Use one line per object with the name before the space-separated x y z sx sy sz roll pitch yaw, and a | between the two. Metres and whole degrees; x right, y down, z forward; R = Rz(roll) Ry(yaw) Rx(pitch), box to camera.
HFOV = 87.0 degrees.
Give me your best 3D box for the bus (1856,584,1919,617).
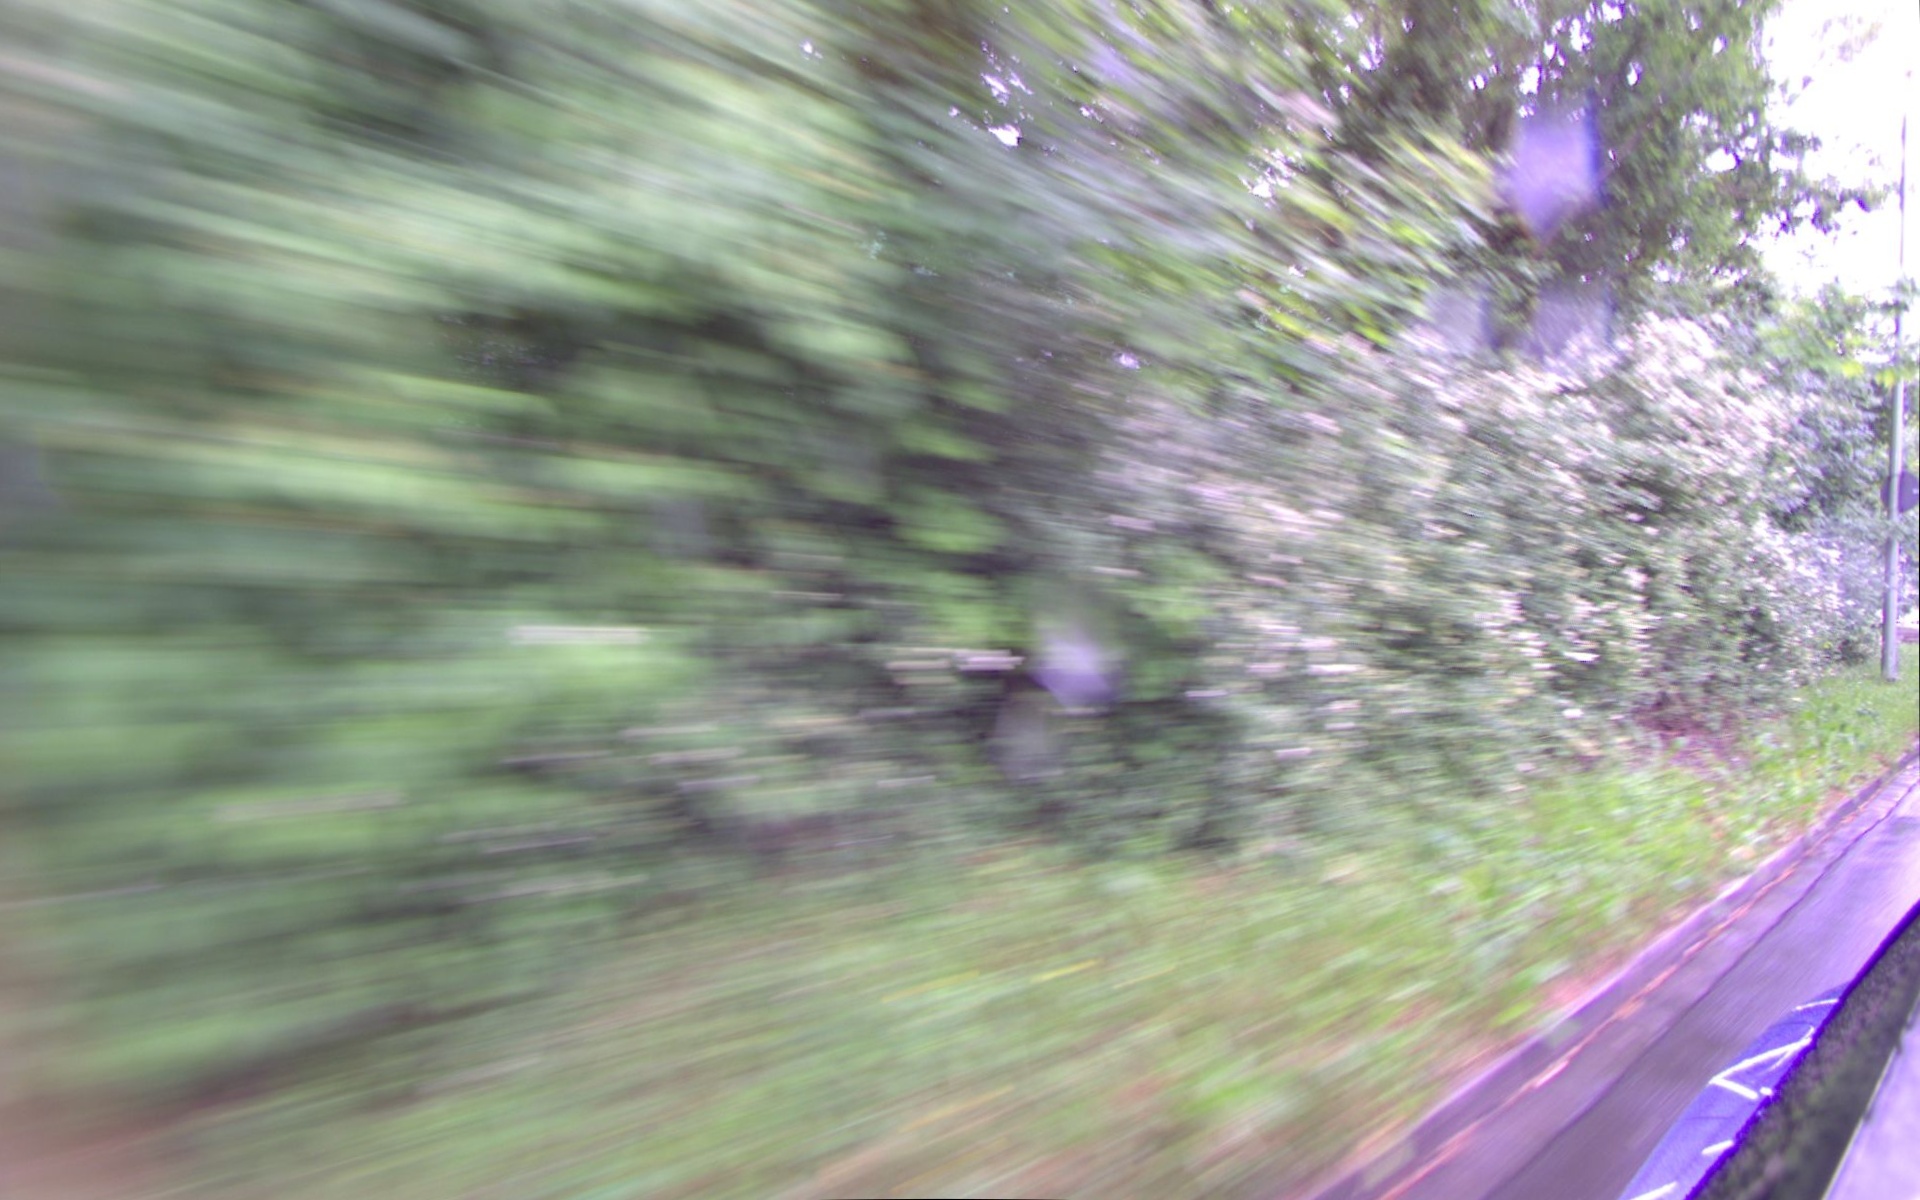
bus | 87.001 -0.003 92.413 10.168 2.822 2.905 -1 -1 -18
